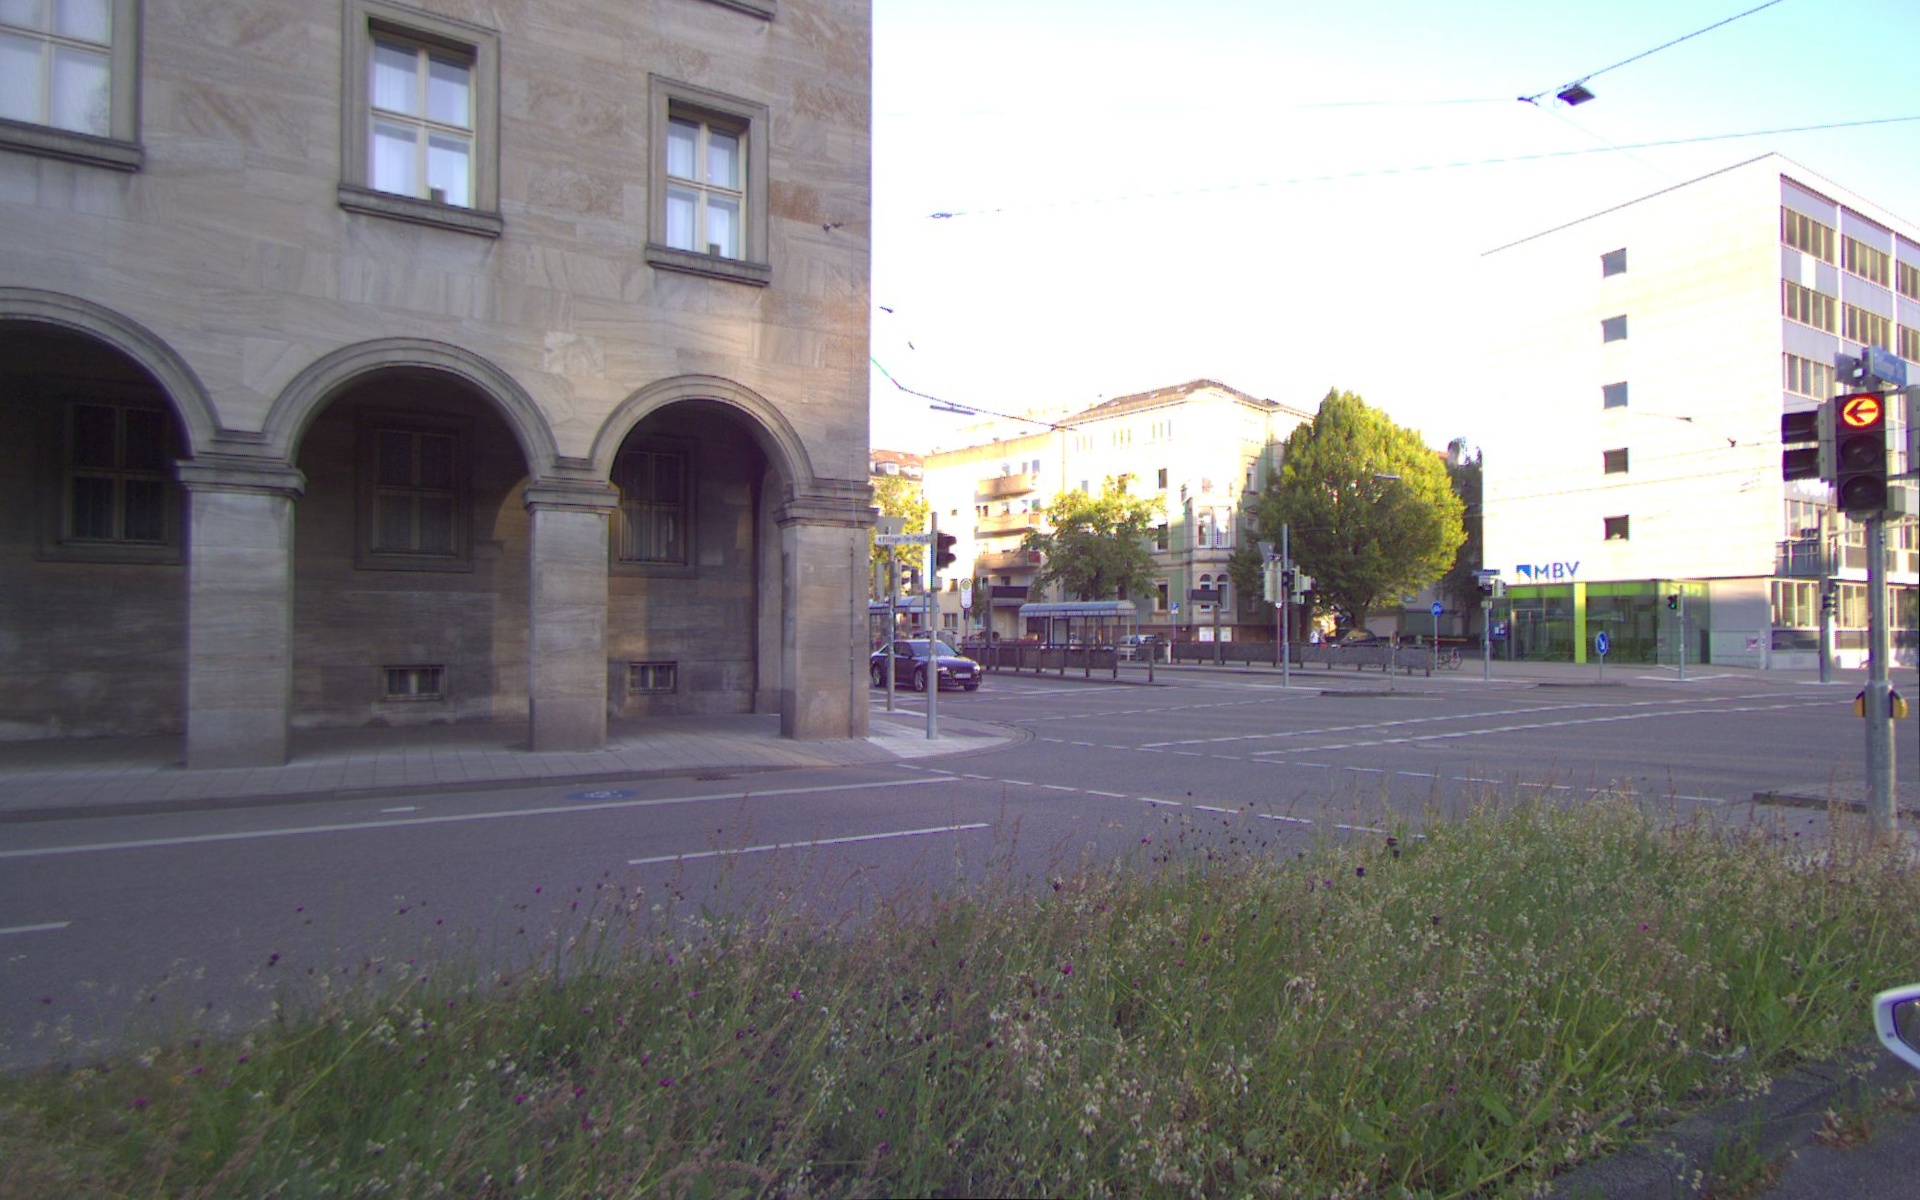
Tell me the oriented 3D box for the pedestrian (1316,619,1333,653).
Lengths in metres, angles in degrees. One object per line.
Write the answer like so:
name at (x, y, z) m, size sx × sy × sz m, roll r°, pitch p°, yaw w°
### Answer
pedestrian at (19.744, 1.948, 54.419) m, size 0.718 × 1.813 × 0.634 m, roll 2°, pitch -2°, yaw -43°

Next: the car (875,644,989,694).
car at (-0.905, 1.988, 29.725) m, size 1.791 × 1.344 × 4.120 m, roll 1°, pitch -2°, yaw -27°

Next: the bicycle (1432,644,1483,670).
bicycle at (21.610, 2.461, 43.601) m, size 2.183 × 1.127 × 0.834 m, roll 1°, pitch -2°, yaw -26°

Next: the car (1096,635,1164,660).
car at (9.998, 2.774, 59.235) m, size 3.545 × 1.390 × 1.830 m, roll -2°, pitch -3°, yaw 45°

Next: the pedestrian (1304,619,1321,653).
pedestrian at (18.989, 1.923, 54.124) m, size 0.718 × 1.813 × 0.634 m, roll 2°, pitch -2°, yaw -44°

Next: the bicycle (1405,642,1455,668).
bicycle at (20.946, 2.418, 44.740) m, size 2.183 × 1.127 × 0.834 m, roll 1°, pitch -2°, yaw -26°
